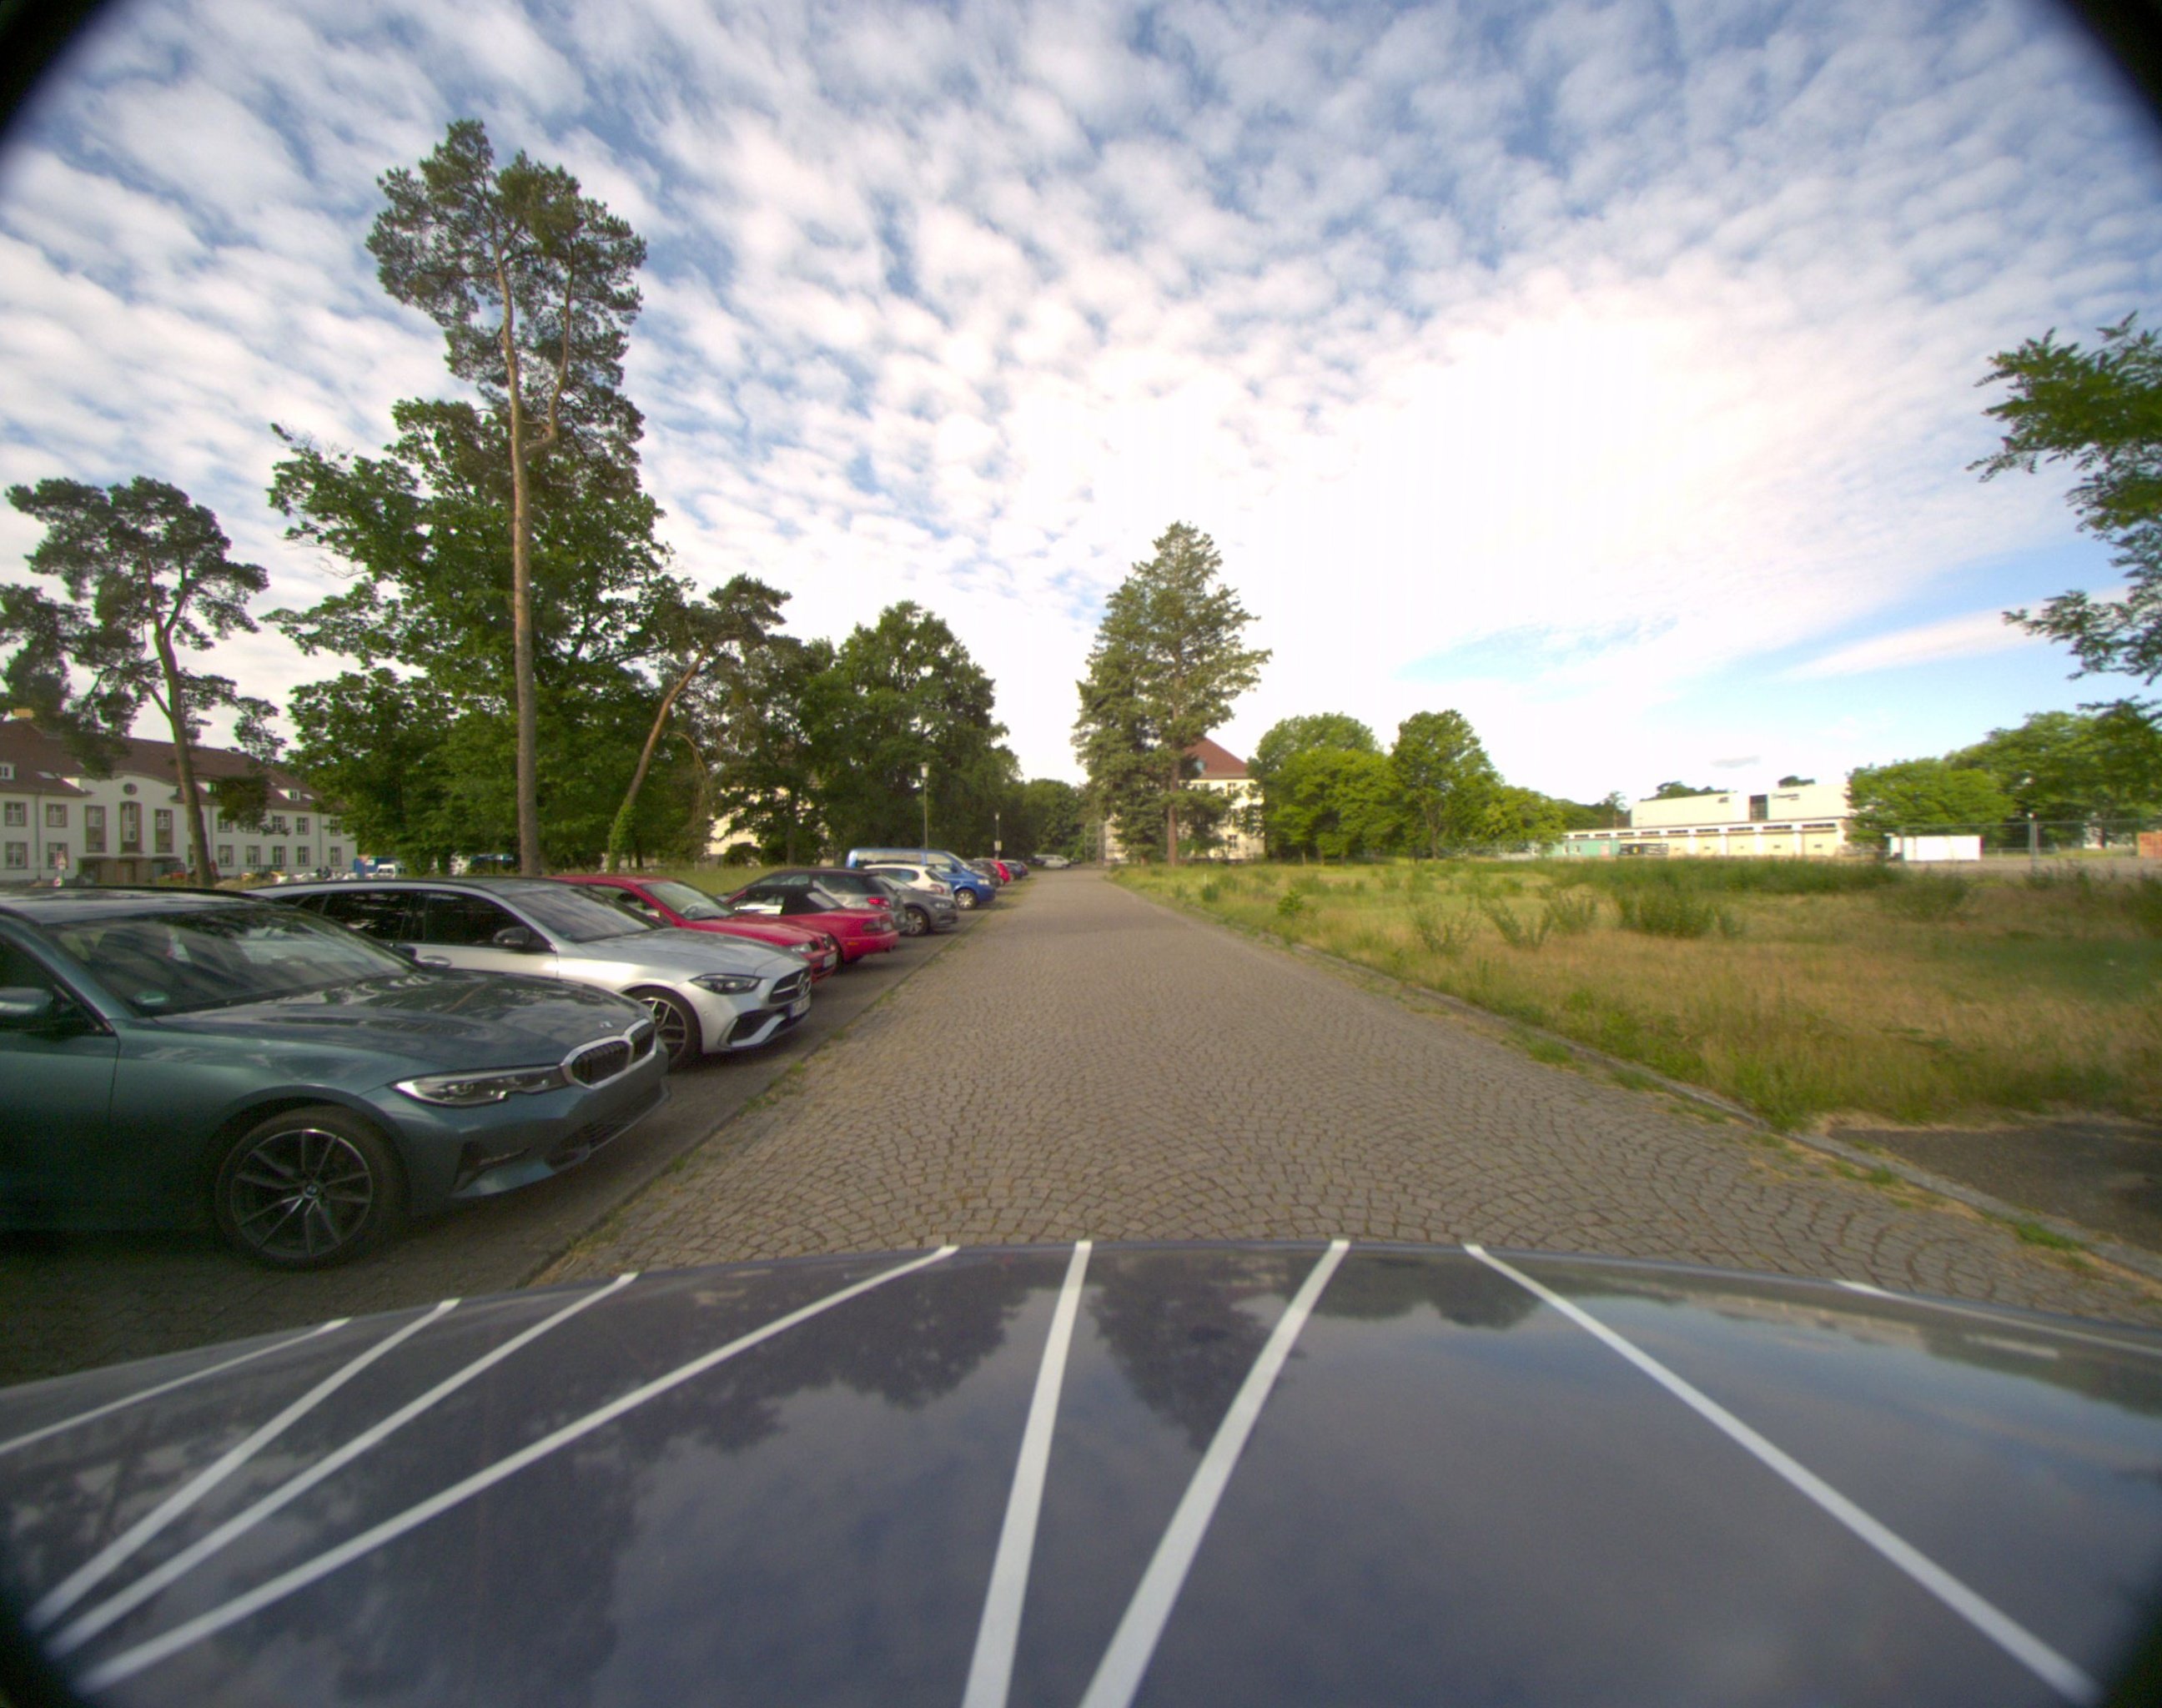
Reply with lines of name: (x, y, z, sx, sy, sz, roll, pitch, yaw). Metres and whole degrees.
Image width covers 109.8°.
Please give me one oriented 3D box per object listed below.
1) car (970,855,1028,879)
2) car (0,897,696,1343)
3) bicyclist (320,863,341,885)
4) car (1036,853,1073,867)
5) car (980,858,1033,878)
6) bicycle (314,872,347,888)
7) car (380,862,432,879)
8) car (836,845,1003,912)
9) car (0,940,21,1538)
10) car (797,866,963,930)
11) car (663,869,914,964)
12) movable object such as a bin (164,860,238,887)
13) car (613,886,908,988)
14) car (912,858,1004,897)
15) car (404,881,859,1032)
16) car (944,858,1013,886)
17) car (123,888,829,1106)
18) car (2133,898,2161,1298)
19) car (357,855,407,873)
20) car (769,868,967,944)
car: (-5.811, 0.920, 54.213, 3.836, 1.609, 1.581, -1, 0, 3)
car: (-4.566, 1.032, 3.585, 4.526, 1.474, 1.807, -1, 0, -4)
bicyclist: (-60.128, 1.601, 60.880, 0.667, 1.724, 0.844, -3, 1, 2)
car: (-3.725, 0.829, 107.741, 5.130, 2.002, 1.804, -1, 0, -3)
car: (-5.755, 1.076, 58.976, 3.836, 1.520, 1.674, -1, 0, 3)
bicycle: (-60.120, 2.066, 60.901, 0.638, 1.201, 1.981, -1, 0, 2)
car: (-70.306, 1.654, 79.203, 1.847, 1.674, 3.937, 1, 0, 1)
car: (-5.155, 0.767, 24.779, 4.954, 2.011, 2.060, 1, 0, -1)
car: (-4.534, 0.978, 0.941, 3.853, 1.462, 1.641, -1, 0, -4)
car: (-5.033, 1.084, 19.358, 3.762, 1.490, 1.581, -1, 0, 0)
car: (-5.077, 1.065, 13.551, 3.838, 1.494, 1.604, -1, 0, -2)
movable object such as a bin: (-92.868, 1.994, 80.300, 2.000, 2.752, 5.201, -1, 0, -6)
car: (-4.468, 1.142, 10.963, 3.555, 1.279, 1.608, -1, -1, 0)
car: (-5.358, 1.008, 33.420, 3.839, 1.592, 1.580, -1, 0, -5)
car: (-4.859, 1.081, 8.668, 4.118, 1.415, 1.719, -1, 0, -1)
car: (-5.870, 1.036, 43.817, 3.839, 1.516, 1.580, -1, 0, -5)
car: (-4.542, 1.042, 6.288, 4.337, 1.420, 1.766, 0, 0, -3)
car: (5.781, 0.796, 2.138, 3.587, 1.467, 1.646, -4, 1, -4)
car: (-84.267, 1.184, 91.686, 2.218, 2.002, 4.001, -1, 0, 4)
car: (-4.493, 1.086, 16.423, 3.781, 1.457, 1.643, -1, 0, 0)
